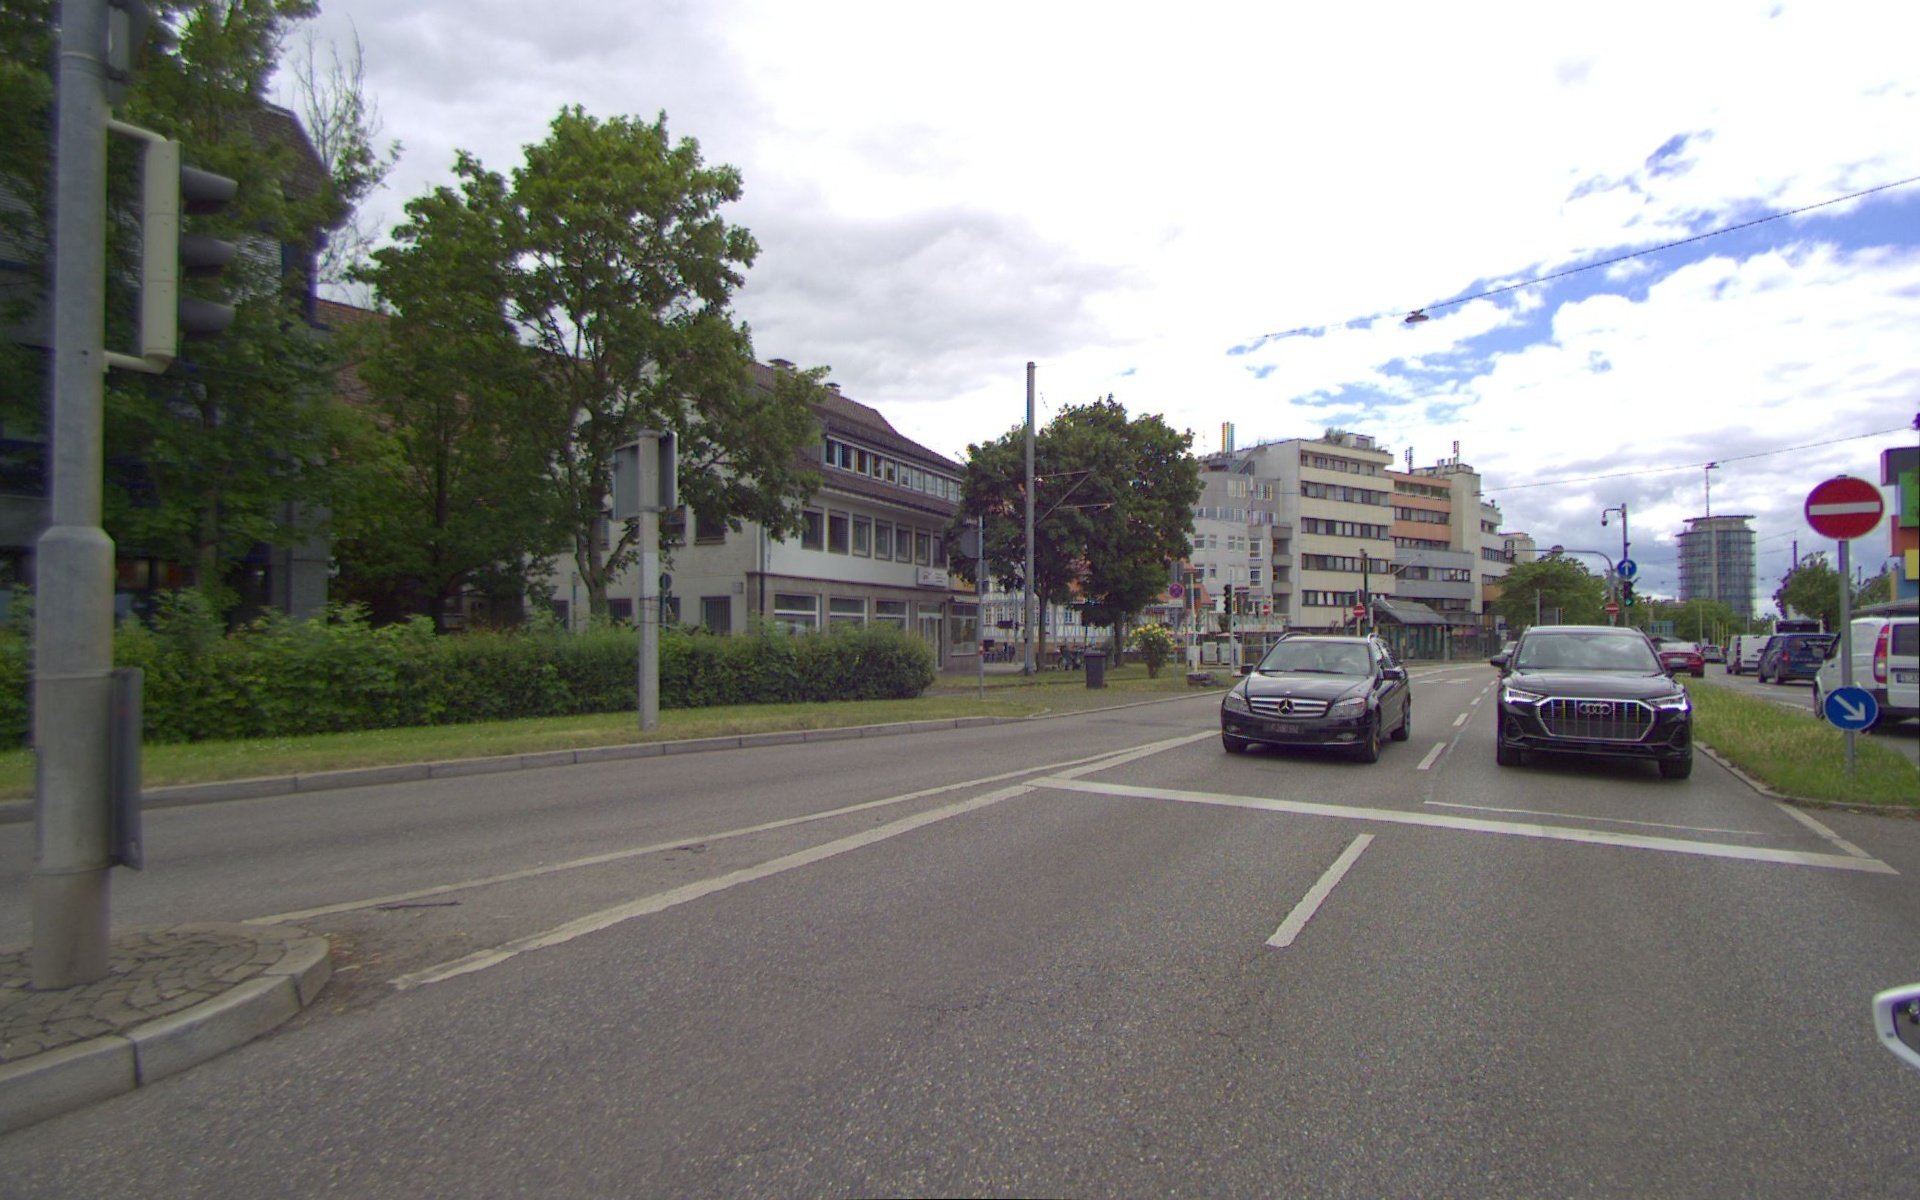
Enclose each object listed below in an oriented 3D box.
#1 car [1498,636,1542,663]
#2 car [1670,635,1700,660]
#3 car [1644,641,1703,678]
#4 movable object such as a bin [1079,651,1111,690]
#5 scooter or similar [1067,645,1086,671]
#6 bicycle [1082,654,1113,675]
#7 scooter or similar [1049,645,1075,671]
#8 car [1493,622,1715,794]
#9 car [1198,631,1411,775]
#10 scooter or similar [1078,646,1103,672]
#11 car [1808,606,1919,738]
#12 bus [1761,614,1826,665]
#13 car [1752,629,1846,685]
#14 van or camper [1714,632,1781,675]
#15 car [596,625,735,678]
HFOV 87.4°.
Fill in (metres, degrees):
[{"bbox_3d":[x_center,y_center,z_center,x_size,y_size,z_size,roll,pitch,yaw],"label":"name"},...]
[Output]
[{"bbox_3d":[33.289,2.899,59.661,1.774,1.474,4.597,1,-1,35],"label":"car"},{"bbox_3d":[58.165,3.772,80.553,1.878,1.884,4.692,1,-1,37],"label":"car"},{"bbox_3d":[31.513,2.583,44.466,1.846,1.437,4.432,1,-1,32],"label":"car"},{"bbox_3d":[3.667,1.904,27.259,0.555,1.026,0.836,0,-2,32],"label":"movable object such as a bin"},{"bbox_3d":[5.154,2.567,44.573,0.417,1.100,0.988,-1,-3,36],"label":"scooter or similar"},{"bbox_3d":[5.678,2.653,41.457,1.241,0.815,0.423,-1,-3,34],"label":"bicycle"},{"bbox_3d":[4.416,2.484,43.441,0.594,1.100,1.171,-1,-3,40],"label":"scooter or similar"},{"bbox_3d":[7.445,1.084,11.983,1.860,1.585,4.389,1,0,29],"label":"car"},{"bbox_3d":[4.622,1.167,13.032,1.757,1.444,4.387,1,0,31],"label":"car"},{"bbox_3d":[5.623,2.536,43.274,0.484,1.059,1.169,0,-1,44],"label":"scooter or similar"},{"bbox_3d":[16.084,1.160,17.108,1.875,1.995,4.624,1,-1,32],"label":"car"},{"bbox_3d":[55.346,2.684,66.894,2.930,3.157,9.206,-3,-4,38],"label":"bus"},{"bbox_3d":[30.915,2.030,37.150,1.874,1.884,4.700,1,-1,30],"label":"car"},{"bbox_3d":[38.703,2.577,49.466,1.964,1.943,4.400,0,-1,30],"label":"van or camper"},{"bbox_3d":[-9.168,1.562,31.261,3.928,1.444,1.857,1,0,27],"label":"car"}]
